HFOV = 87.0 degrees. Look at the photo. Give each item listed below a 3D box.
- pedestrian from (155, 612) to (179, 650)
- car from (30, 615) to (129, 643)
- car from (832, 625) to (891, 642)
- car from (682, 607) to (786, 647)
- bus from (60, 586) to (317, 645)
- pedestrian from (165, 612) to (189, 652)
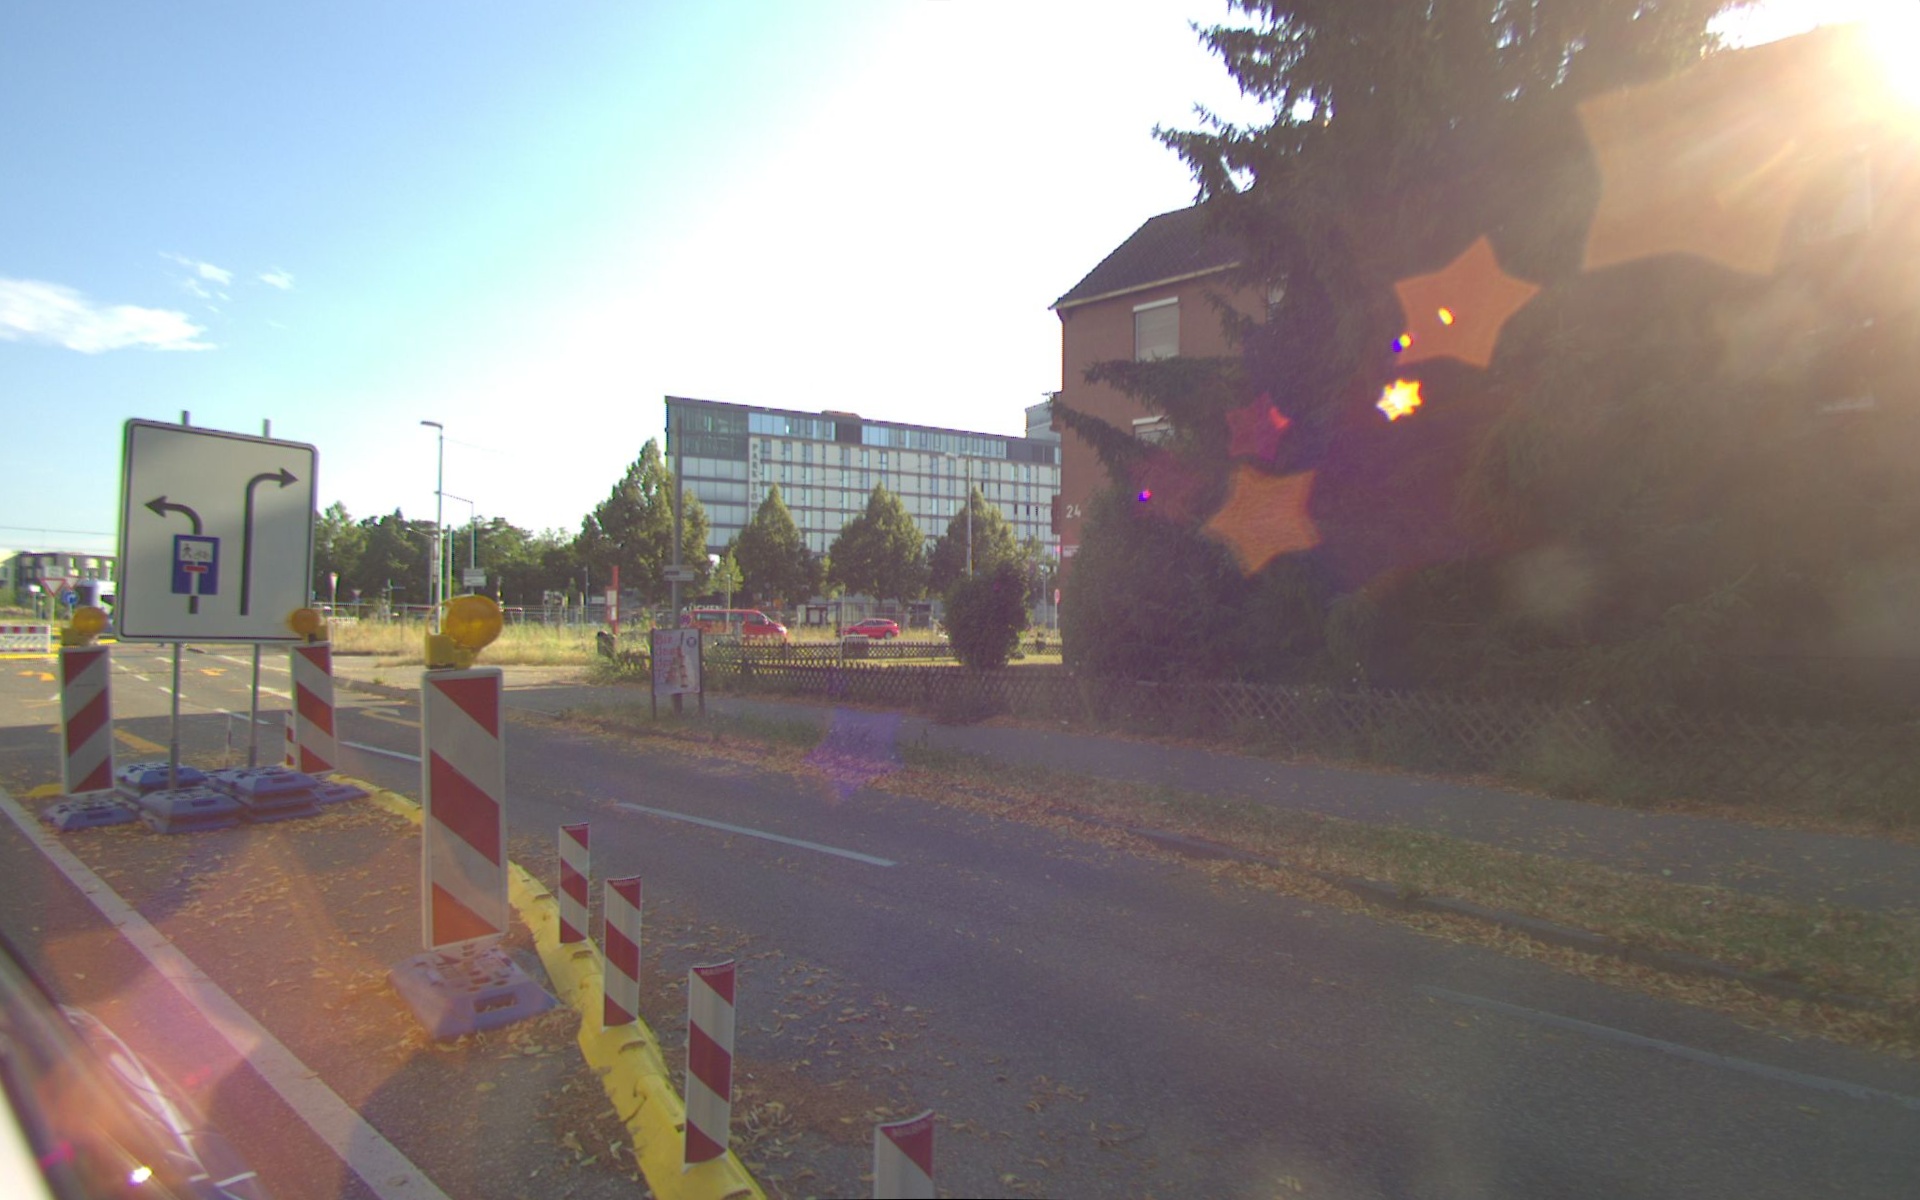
[{"bbox_3d":[-36.280,1.427,46.294,0.800,1.722,0.787,2,-2,-41],"label":"pedestrian"},{"bbox_3d":[-51.155,1.695,58.896,1.767,1.542,3.969,0,-2,23],"label":"car"},{"bbox_3d":[-6.878,2.339,70.774,3.867,1.175,1.336,1,-1,-28],"label":"car"},{"bbox_3d":[-11.898,1.444,53.464,5.226,2.029,2.004,1,-2,-11],"label":"car"},{"bbox_3d":[-44.178,0.925,58.759,2.650,3.085,12.080,0,-1,24],"label":"bus"},{"bbox_3d":[-35.467,1.462,45.842,0.760,1.789,0.761,2,-2,-43],"label":"pedestrian"}]
